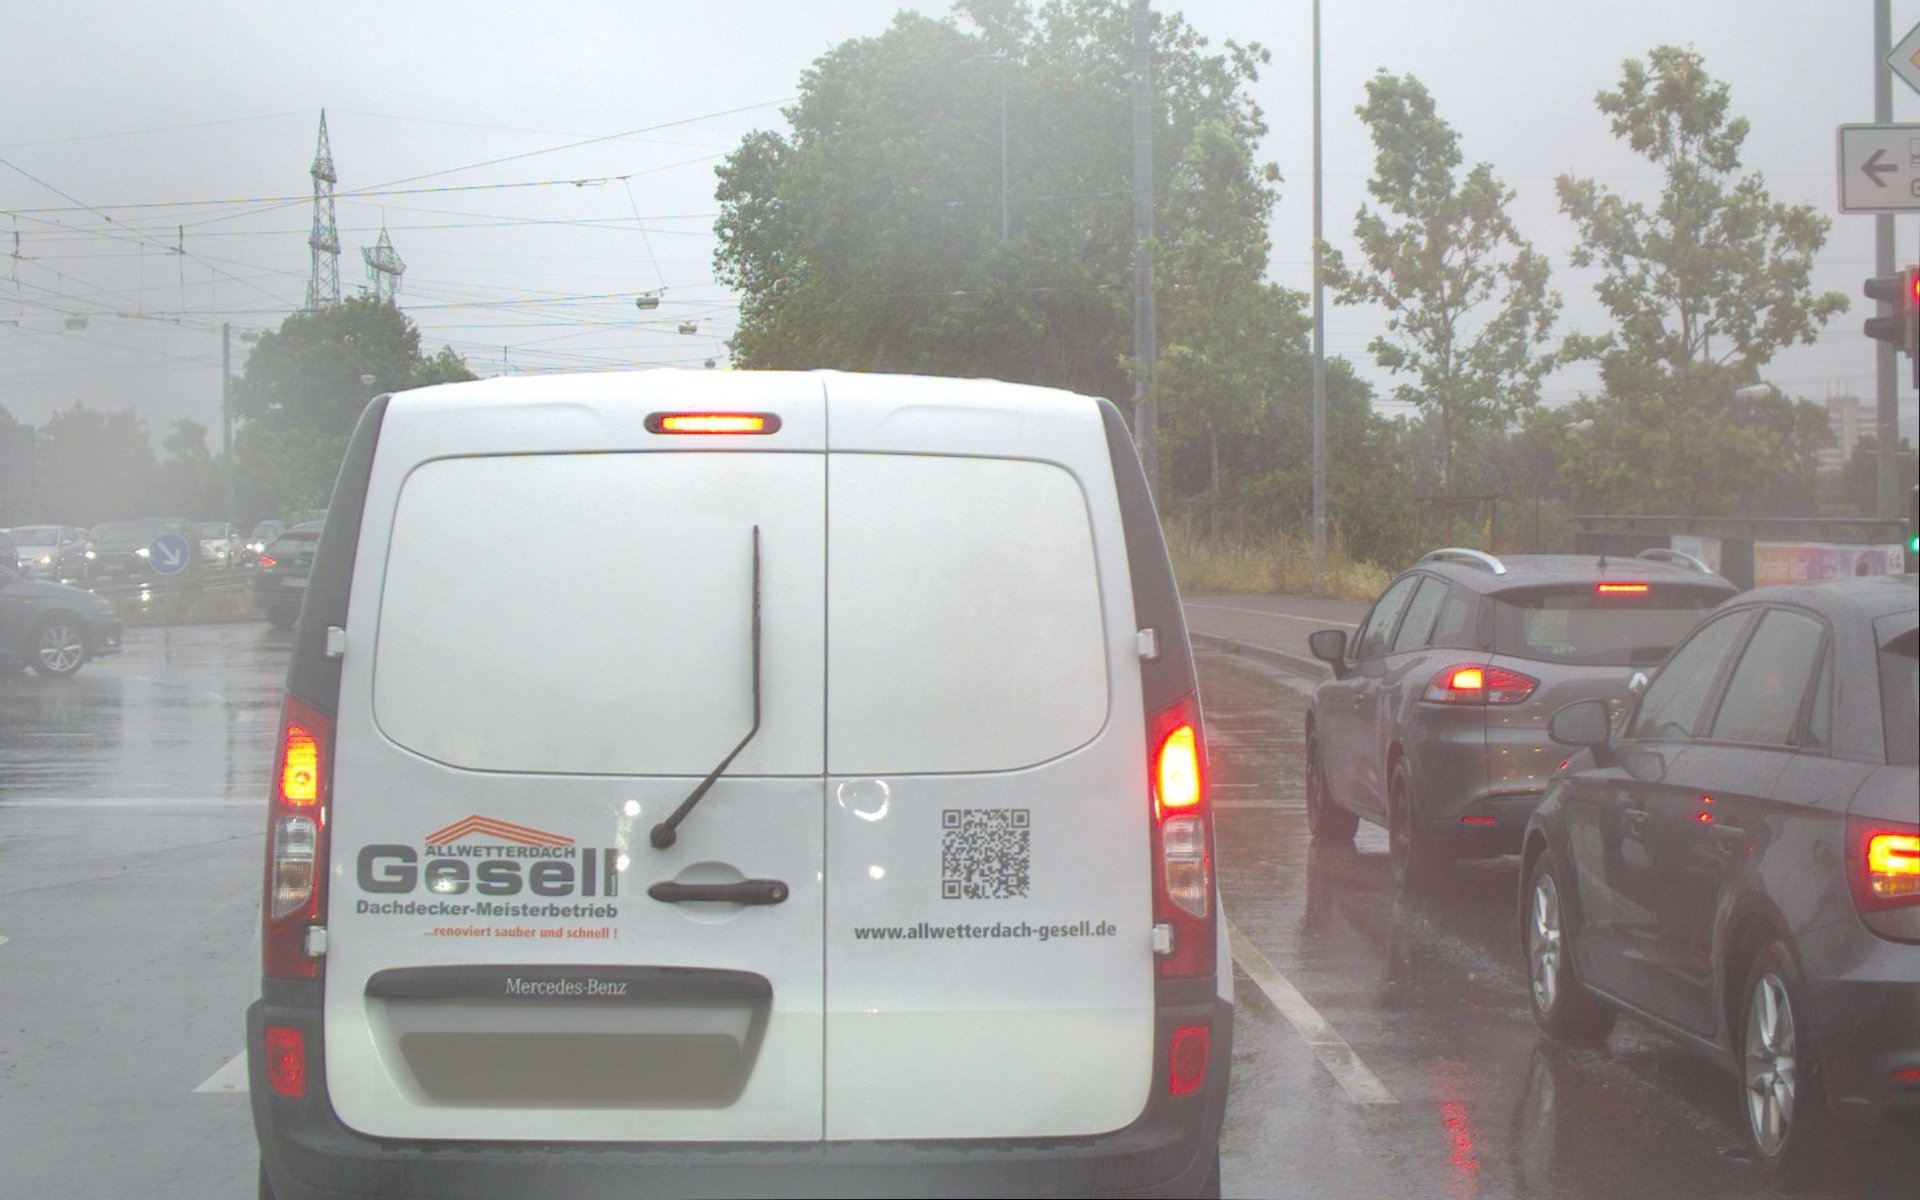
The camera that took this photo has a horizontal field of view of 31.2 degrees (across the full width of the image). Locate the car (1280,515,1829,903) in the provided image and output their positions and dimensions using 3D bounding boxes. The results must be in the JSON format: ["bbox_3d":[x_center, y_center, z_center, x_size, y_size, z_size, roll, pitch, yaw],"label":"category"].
[{"bbox_3d":[2.536,0.405,15.557,1.684,1.503,3.921,1,1,-1],"label":"car"}]

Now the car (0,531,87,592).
[{"bbox_3d":[-22.547,-0.924,83.895,1.559,1.421,3.569,2,0,-1],"label":"car"}]

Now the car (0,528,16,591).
[{"bbox_3d":[-22.528,-0.947,77.406,1.559,1.421,3.569,2,0,-1],"label":"car"}]

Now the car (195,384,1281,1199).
[{"bbox_3d":[-0.504,0.467,7.688,1.754,1.744,4.170,1,2,-4],"label":"car"}]

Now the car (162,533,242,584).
[{"bbox_3d":[-22.282,-1.204,101.219,1.559,1.421,3.569,2,0,-1],"label":"car"}]

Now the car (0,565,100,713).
[{"bbox_3d":[-10.583,0.317,33.775,3.784,1.393,1.536,3,1,-32],"label":"car"}]

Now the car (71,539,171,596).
[{"bbox_3d":[-22.237,-0.842,91.208,1.710,1.421,3.809,2,0,-1],"label":"car"}]

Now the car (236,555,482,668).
[{"bbox_3d":[-8.210,0.159,47.214,1.647,1.393,3.450,4,1,23],"label":"car"}]

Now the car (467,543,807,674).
[{"bbox_3d":[-3.931,0.119,42.155,3.913,1.393,1.535,3,1,-40],"label":"car"}]

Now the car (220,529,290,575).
[{"bbox_3d":[-23.106,-1.558,112.778,1.559,1.421,3.569,2,0,-1],"label":"car"}]

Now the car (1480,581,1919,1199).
[{"bbox_3d":[2.523,0.640,8.997,1.597,1.362,3.631,-1,0,-3],"label":"car"}]
